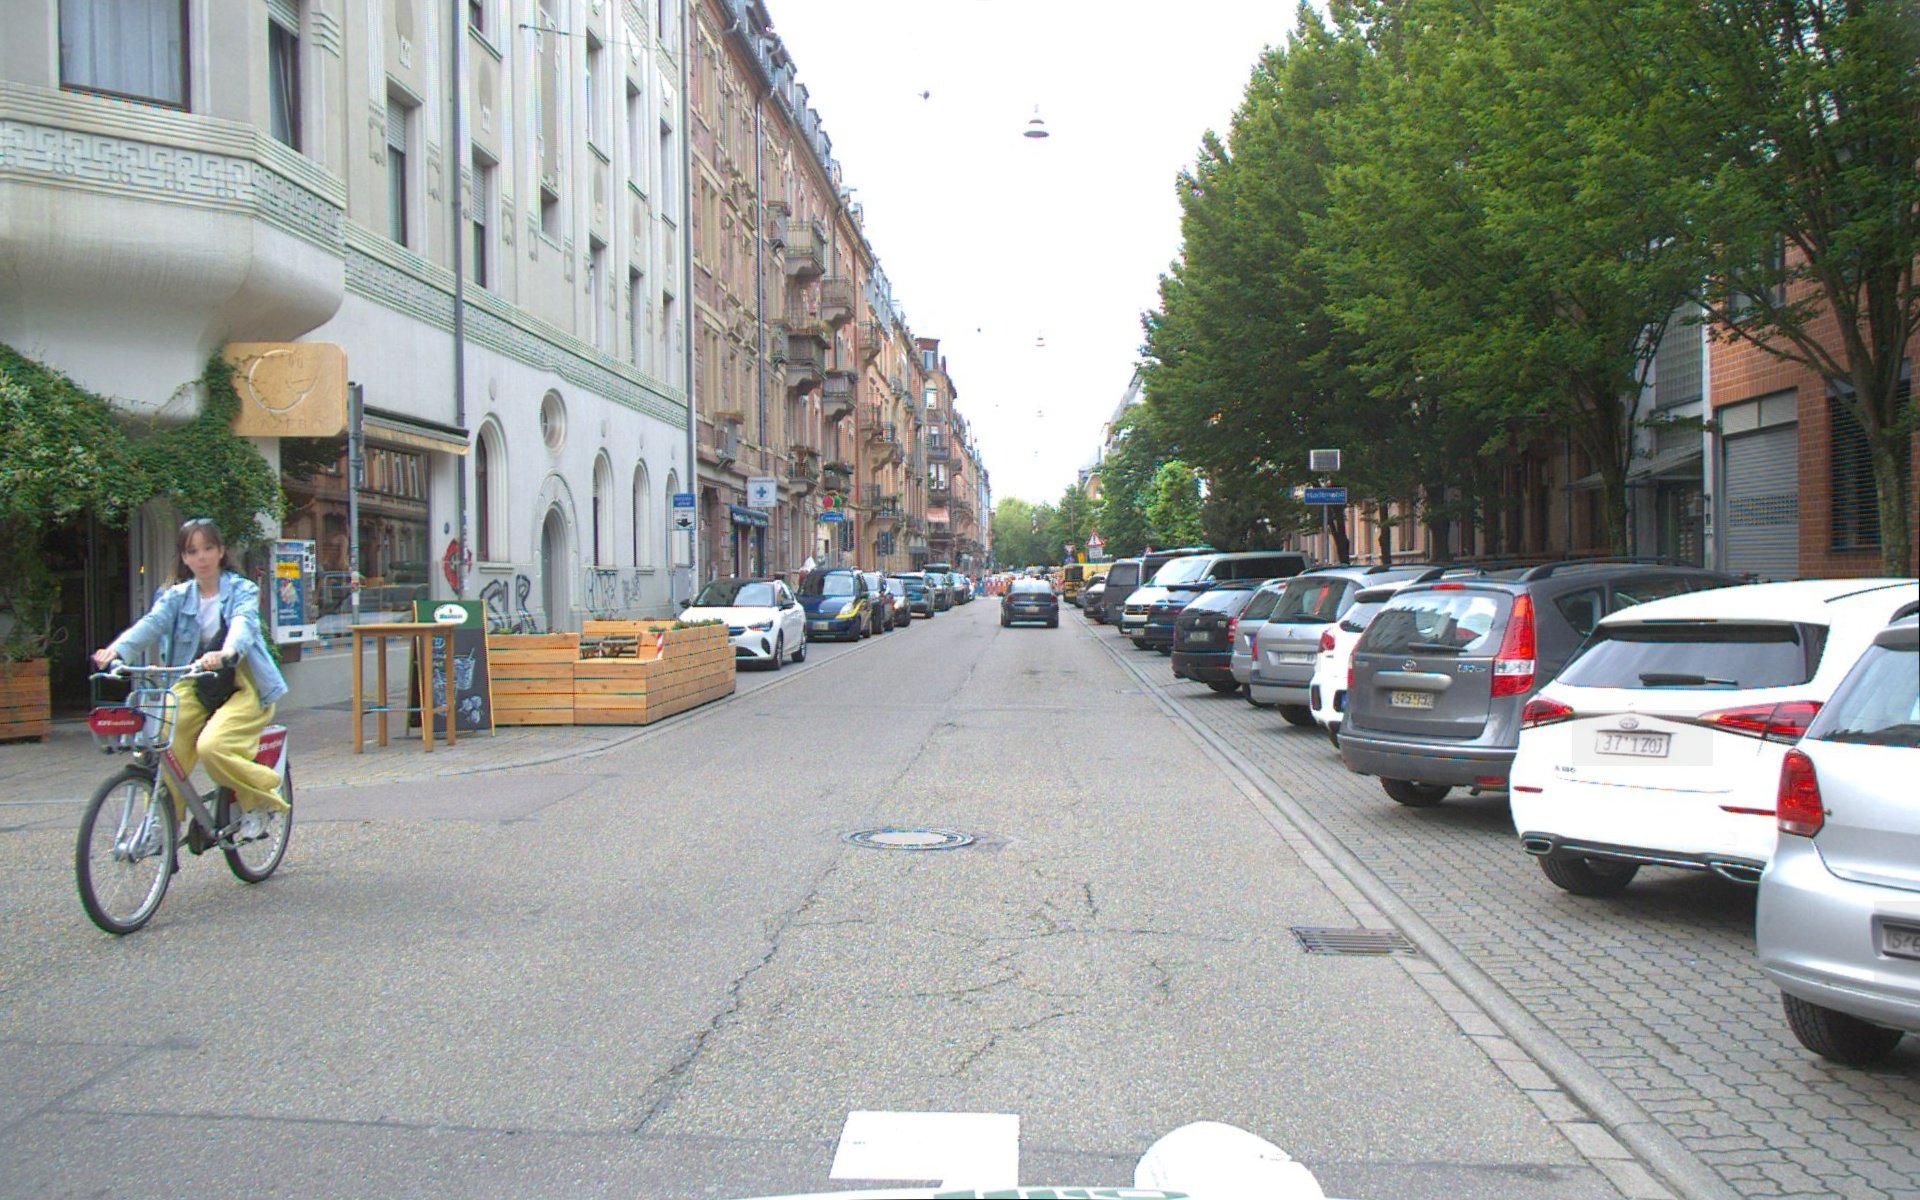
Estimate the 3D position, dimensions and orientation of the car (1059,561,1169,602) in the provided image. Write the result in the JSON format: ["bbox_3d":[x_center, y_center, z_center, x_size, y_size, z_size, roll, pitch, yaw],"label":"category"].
[{"bbox_3d":[7.805,-0.940,83.746,5.324,1.900,1.933,-2,0,-28],"label":"car"}]

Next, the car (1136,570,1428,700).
[{"bbox_3d":[4.354,0.416,22.140,3.824,1.531,1.747,-2,0,-38],"label":"car"}]

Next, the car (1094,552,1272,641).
[{"bbox_3d":[5.394,-0.109,40.008,3.927,2.049,1.741,-1,0,-20],"label":"car"}]

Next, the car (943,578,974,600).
[{"bbox_3d":[-0.116,-0.695,105.218,1.953,1.344,3.999,0,-1,-1],"label":"car"}]

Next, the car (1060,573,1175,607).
[{"bbox_3d":[7.513,-0.488,78.761,5.323,1.580,1.933,-1,1,-28],"label":"car"}]

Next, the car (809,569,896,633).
[{"bbox_3d":[-2.854,0.012,44.628,1.903,1.645,3.944,0,0,2],"label":"car"}]

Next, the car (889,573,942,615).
[{"bbox_3d":[-1.762,-0.251,66.875,1.904,1.645,3.943,0,0,2],"label":"car"}]

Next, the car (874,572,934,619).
[{"bbox_3d":[-2.014,-0.188,60.569,1.904,1.645,3.944,-1,1,2],"label":"car"}]

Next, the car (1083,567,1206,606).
[{"bbox_3d":[8.250,-0.588,73.807,5.324,1.580,1.933,-2,0,-28],"label":"car"}]

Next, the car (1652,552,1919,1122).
[{"bbox_3d":[4.086,0.616,5.299,3.522,1.525,1.824,-1,1,-33],"label":"car"}]

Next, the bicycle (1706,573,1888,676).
[{"bbox_3d":[9.278,0.271,18.370,1.716,1.111,0.565,0,-1,2],"label":"bicycle"}]

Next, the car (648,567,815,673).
[{"bbox_3d":[-3.701,0.300,27.416,1.903,1.580,3.820,-2,0,5],"label":"car"}]

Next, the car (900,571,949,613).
[{"bbox_3d":[-1.532,-0.369,72.696,1.903,1.772,3.944,0,0,2],"label":"car"}]

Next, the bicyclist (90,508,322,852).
[{"bbox_3d":[-3.272,0.333,7.242,0.654,1.423,0.783,0,-1,-1],"label":"bicyclist"}]

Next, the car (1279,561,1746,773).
[{"bbox_3d":[4.760,0.478,14.062,4.011,1.512,1.662,-2,0,-34],"label":"car"}]

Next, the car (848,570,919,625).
[{"bbox_3d":[-2.337,-0.080,51.500,1.904,1.645,3.943,0,0,2],"label":"car"}]

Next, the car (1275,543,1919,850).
[{"bbox_3d":[4.230,0.497,10.771,4.003,1.612,1.885,-2,0,-29],"label":"car"}]

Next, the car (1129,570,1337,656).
[{"bbox_3d":[5.368,0.229,32.411,3.814,1.531,1.752,-2,0,-32],"label":"car"}]

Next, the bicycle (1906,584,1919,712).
[{"bbox_3d":[9.150,0.409,14.197,1.716,1.111,0.565,0,-1,2],"label":"bicycle"}]

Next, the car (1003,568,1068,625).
[{"bbox_3d":[2.339,-0.079,52.129,1.952,1.710,4.000,0,-1,1],"label":"car"}]

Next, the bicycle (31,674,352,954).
[{"bbox_3d":[-3.276,0.859,7.248,0.524,0.994,1.865,0,-1,0],"label":"bicycle"}]

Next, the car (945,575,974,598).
[{"bbox_3d":[-0.068,-0.907,113.100,1.953,1.525,3.999,0,-1,-1],"label":"car"}]

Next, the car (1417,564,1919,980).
[{"bbox_3d":[4.346,0.656,8.040,3.929,1.570,1.858,1,1,-29],"label":"car"}]

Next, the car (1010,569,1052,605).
[{"bbox_3d":[3.417,-0.617,80.465,1.952,1.710,4.000,0,-1,1],"label":"car"}]

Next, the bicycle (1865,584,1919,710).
[{"bbox_3d":[9.119,0.414,14.805,1.716,1.111,0.565,0,-1,2],"label":"bicycle"}]

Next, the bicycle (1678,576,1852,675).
[{"bbox_3d":[9.262,0.294,19.064,1.716,1.111,0.565,0,-1,2],"label":"bicycle"}]

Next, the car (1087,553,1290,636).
[{"bbox_3d":[6.115,-0.162,44.017,5.334,2.027,1.929,-2,0,-32],"label":"car"}]

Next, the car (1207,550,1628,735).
[{"bbox_3d":[4.648,0.362,16.713,4.002,1.612,1.754,-2,0,-29],"label":"car"}]

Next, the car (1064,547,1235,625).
[{"bbox_3d":[6.325,-0.490,55.206,5.305,2.415,1.940,-2,0,-19],"label":"car"}]

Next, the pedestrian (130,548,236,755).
[{"bbox_3d":[-6.537,0.424,13.920,0.566,1.689,0.575,-1,-1,24],"label":"pedestrian"}]

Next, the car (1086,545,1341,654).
[{"bbox_3d":[5.565,-0.052,35.932,5.553,2.164,1.929,-2,0,-32],"label":"car"}]

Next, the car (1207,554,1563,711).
[{"bbox_3d":[5.009,0.325,19.370,4.007,1.612,1.752,-2,0,-32],"label":"car"}]

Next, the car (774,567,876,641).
[{"bbox_3d":[-3.134,0.068,39.159,1.903,1.645,3.944,0,0,2],"label":"car"}]

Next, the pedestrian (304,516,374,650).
[{"bbox_3d":[-7.646,-0.203,20.354,0.735,1.621,0.613,0,-1,-28],"label":"pedestrian"}]

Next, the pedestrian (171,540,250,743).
[{"bbox_3d":[-6.682,0.360,14.744,0.573,1.765,0.500,0,-1,-33],"label":"pedestrian"}]

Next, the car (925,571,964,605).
[{"bbox_3d":[-0.813,-0.659,90.293,1.903,1.768,3.944,-1,1,2],"label":"car"}]

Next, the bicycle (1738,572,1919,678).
[{"bbox_3d":[9.305,0.265,17.654,1.716,1.111,0.565,0,-1,2],"label":"bicycle"}]
